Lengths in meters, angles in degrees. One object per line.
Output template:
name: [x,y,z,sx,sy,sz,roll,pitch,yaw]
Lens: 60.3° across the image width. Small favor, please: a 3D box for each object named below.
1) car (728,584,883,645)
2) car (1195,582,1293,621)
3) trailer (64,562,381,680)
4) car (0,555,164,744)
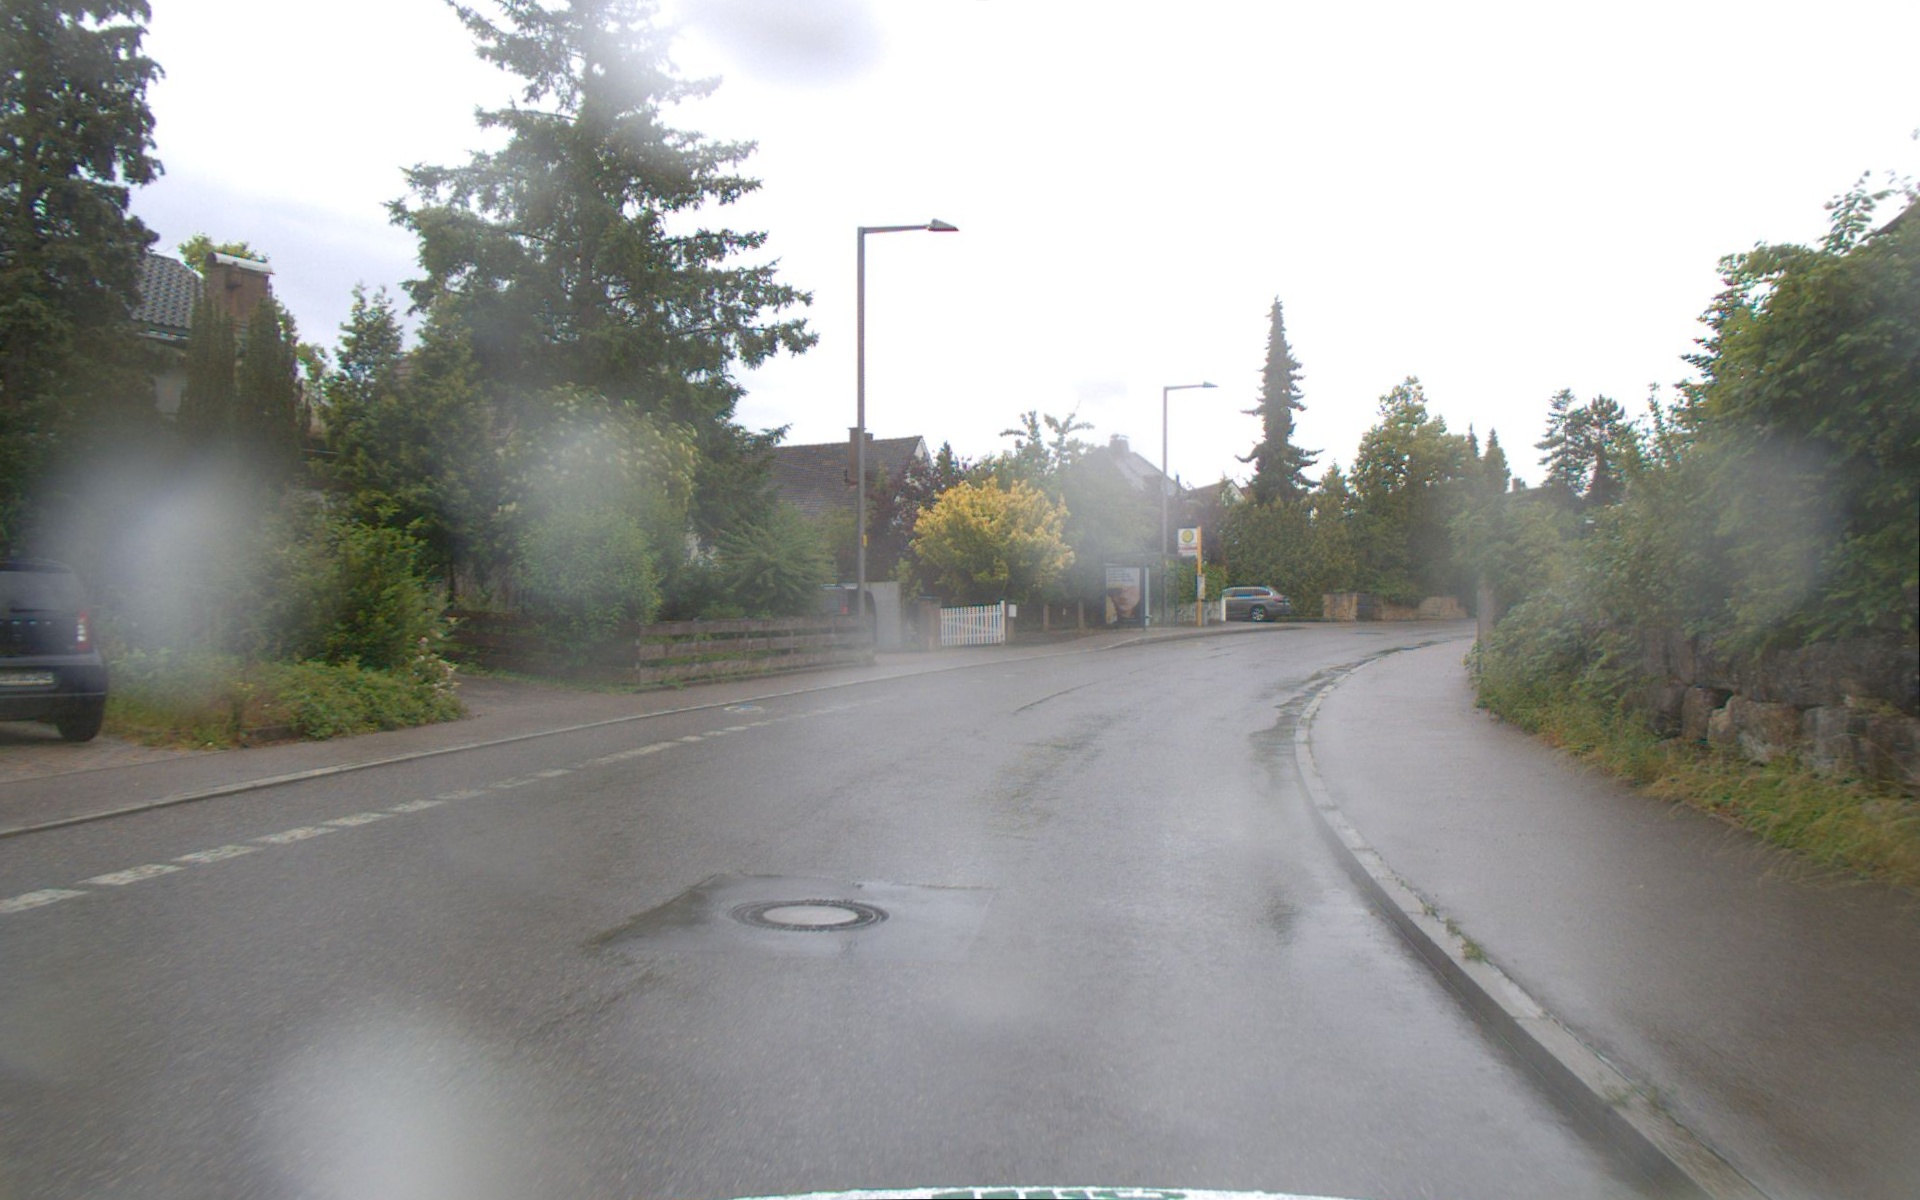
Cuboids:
car: [-4.341,0.378,46.392,3.911,1.648,1.997,1,0,28]
car: [11.933,0.066,69.549,3.767,1.599,1.785,0,0,23]
trailer: [-9.436,0.217,21.158,3.616,1.227,1.923,4,2,29]
car: [-8.510,0.321,13.772,3.926,1.413,1.930,2,-1,40]
